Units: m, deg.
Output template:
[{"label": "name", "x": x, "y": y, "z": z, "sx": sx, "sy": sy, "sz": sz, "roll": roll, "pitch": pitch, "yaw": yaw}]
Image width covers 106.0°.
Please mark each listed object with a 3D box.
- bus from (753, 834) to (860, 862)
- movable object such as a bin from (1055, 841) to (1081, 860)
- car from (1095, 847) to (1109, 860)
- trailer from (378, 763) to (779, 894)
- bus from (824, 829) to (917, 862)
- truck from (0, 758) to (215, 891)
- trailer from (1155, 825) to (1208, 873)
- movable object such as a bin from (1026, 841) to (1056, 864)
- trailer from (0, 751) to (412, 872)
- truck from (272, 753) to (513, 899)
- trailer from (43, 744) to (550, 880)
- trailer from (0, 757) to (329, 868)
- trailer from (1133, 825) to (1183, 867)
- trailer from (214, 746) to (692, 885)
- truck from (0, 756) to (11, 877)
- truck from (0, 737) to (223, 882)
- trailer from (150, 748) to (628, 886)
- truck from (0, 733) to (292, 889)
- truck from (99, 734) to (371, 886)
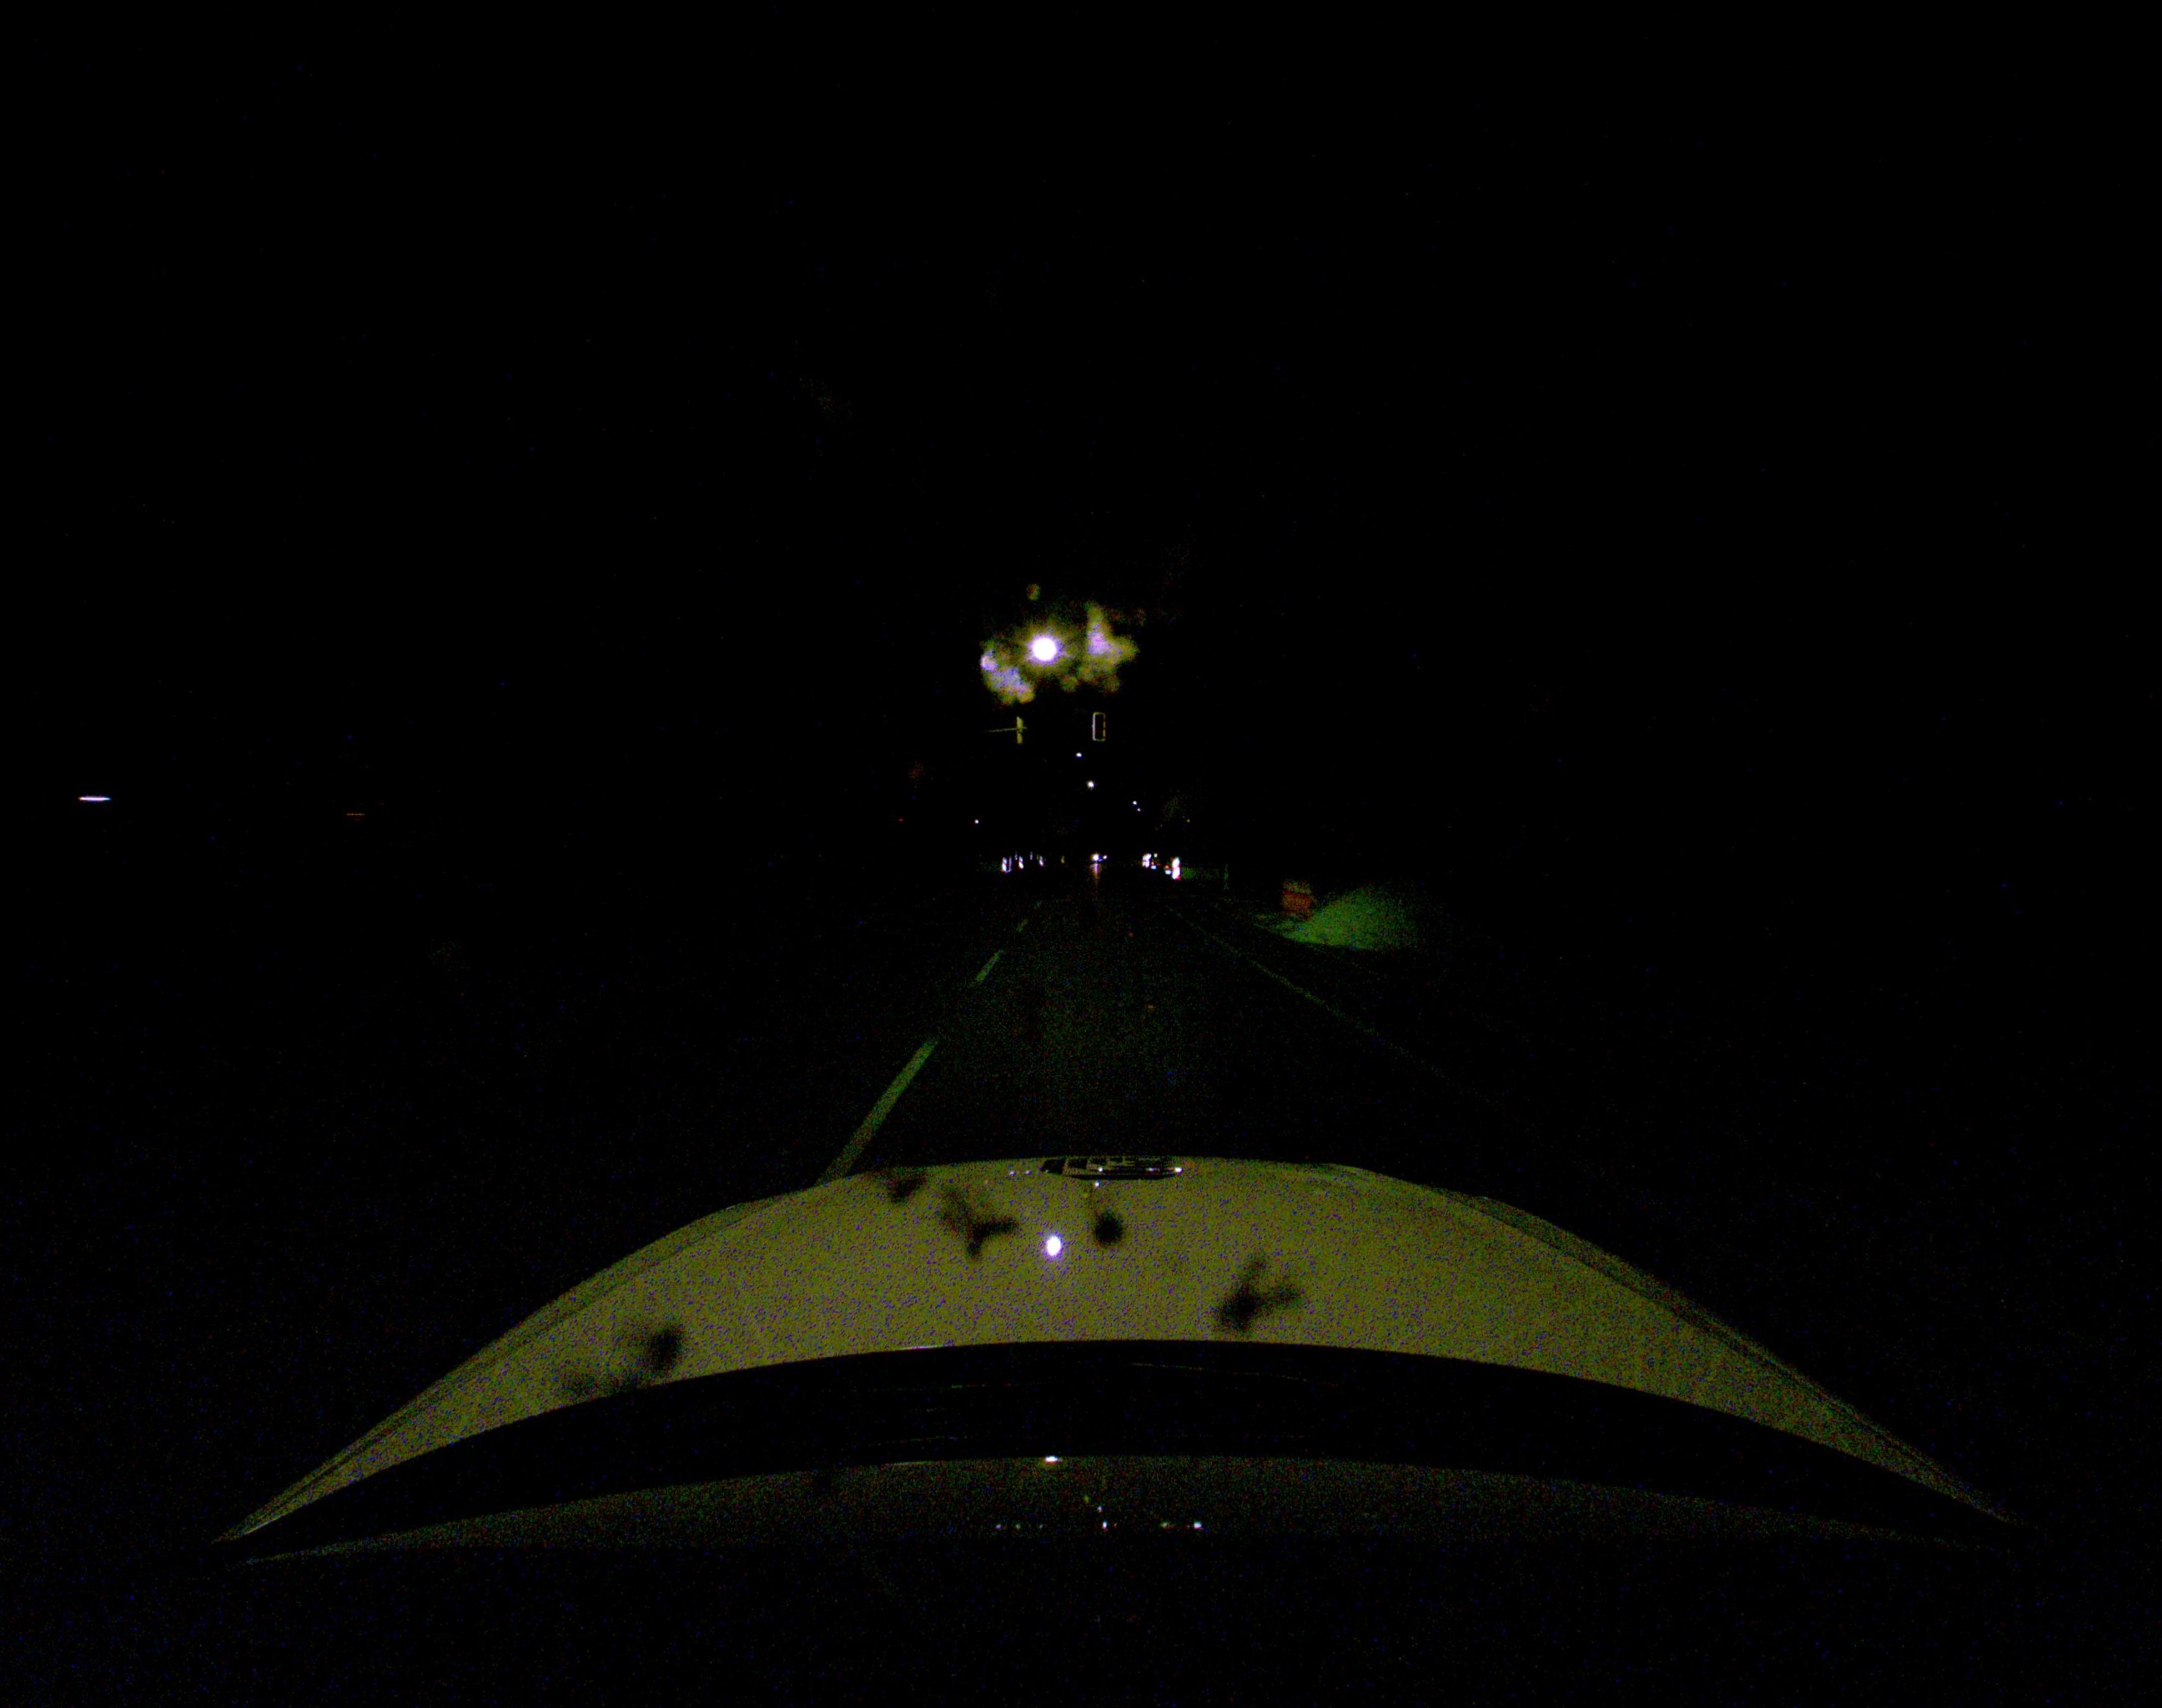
[{"label": "bus", "x": -30.238, "y": -0.716, "z": 90.689, "sx": 2.915, "sy": 2.982, "sz": 12.353, "roll": 0, "pitch": 1, "yaw": 31}, {"label": "movable object such as a bin", "x": -1.598, "y": -0.419, "z": 101.945, "sx": 1.979, "sy": 2.376, "sz": 4.720, "roll": -1, "pitch": 0, "yaw": 14}, {"label": "car", "x": 2.585, "y": -0.057, "z": 99.992, "sx": 1.690, "sy": 1.576, "sz": 2.958, "roll": -2, "pitch": 0, "yaw": 2}, {"label": "trailer", "x": -18.112, "y": -0.803, "z": 32.050, "sx": 3.034, "sy": 3.932, "sz": 15.070, "roll": 1, "pitch": 0, "yaw": 17}, {"label": "bus", "x": -22.155, "y": -0.926, "z": 86.885, "sx": 2.988, "sy": 3.204, "sz": 12.735, "roll": 0, "pitch": 1, "yaw": 19}, {"label": "truck", "x": -36.113, "y": -0.998, "z": 29.541, "sx": 3.033, "sy": 4.357, "sz": 5.593, "roll": 1, "pitch": 0, "yaw": 19}, {"label": "trailer", "x": 6.299, "y": -0.268, "z": 51.522, "sx": 2.606, "sy": 2.845, "sz": 4.706, "roll": 1, "pitch": -1, "yaw": -2}, {"label": "movable object such as a bin", "x": -4.313, "y": -0.202, "z": 89.648, "sx": 1.979, "sy": 2.376, "sz": 4.720, "roll": -1, "pitch": 1, "yaw": 14}, {"label": "trailer", "x": -38.400, "y": -1.556, "z": 35.237, "sx": 3.033, "sy": 4.357, "sz": 15.076, "roll": 1, "pitch": 0, "yaw": 20}, {"label": "truck", "x": -20.458, "y": -0.784, "z": 24.502, "sx": 3.034, "sy": 3.932, "sz": 4.523, "roll": 1, "pitch": 0, "yaw": 17}, {"label": "trailer", "x": -30.462, "y": -1.366, "z": 33.691, "sx": 3.031, "sy": 4.357, "sz": 15.083, "roll": 1, "pitch": 0, "yaw": 22}, {"label": "trailer", "x": -42.737, "y": -1.660, "z": 35.325, "sx": 3.033, "sy": 4.357, "sz": 15.076, "roll": 1, "pitch": 0, "yaw": 20}, {"label": "trailer", "x": 6.210, "y": -0.575, "z": 66.471, "sx": 3.472, "sy": 3.219, "sz": 4.861, "roll": 1, "pitch": -1, "yaw": -2}, {"label": "trailer", "x": -22.694, "y": -1.157, "z": 31.816, "sx": 3.031, "sy": 4.148, "sz": 15.086, "roll": 1, "pitch": 0, "yaw": 24}, {"label": "truck", "x": -41.216, "y": -1.404, "z": 27.377, "sx": 3.033, "sy": 4.357, "sz": 5.593, "roll": 1, "pitch": 0, "yaw": 19}, {"label": "truck", "x": -33.197, "y": -1.373, "z": 27.078, "sx": 3.031, "sy": 4.357, "sz": 5.596, "roll": 1, "pitch": 0, "yaw": 22}, {"label": "trailer", "x": -26.425, "y": -1.195, "z": 33.324, "sx": 3.031, "sy": 4.357, "sz": 15.083, "roll": 1, "pitch": 0, "yaw": 23}, {"label": "truck", "x": -29.530, "y": -1.220, "z": 25.850, "sx": 3.031, "sy": 4.357, "sz": 5.596, "roll": 1, "pitch": 0, "yaw": 23}, {"label": "truck", "x": -25.700, "y": -1.226, "z": 25.011, "sx": 3.031, "sy": 4.148, "sz": 4.963, "roll": 1, "pitch": 0, "yaw": 24}]
